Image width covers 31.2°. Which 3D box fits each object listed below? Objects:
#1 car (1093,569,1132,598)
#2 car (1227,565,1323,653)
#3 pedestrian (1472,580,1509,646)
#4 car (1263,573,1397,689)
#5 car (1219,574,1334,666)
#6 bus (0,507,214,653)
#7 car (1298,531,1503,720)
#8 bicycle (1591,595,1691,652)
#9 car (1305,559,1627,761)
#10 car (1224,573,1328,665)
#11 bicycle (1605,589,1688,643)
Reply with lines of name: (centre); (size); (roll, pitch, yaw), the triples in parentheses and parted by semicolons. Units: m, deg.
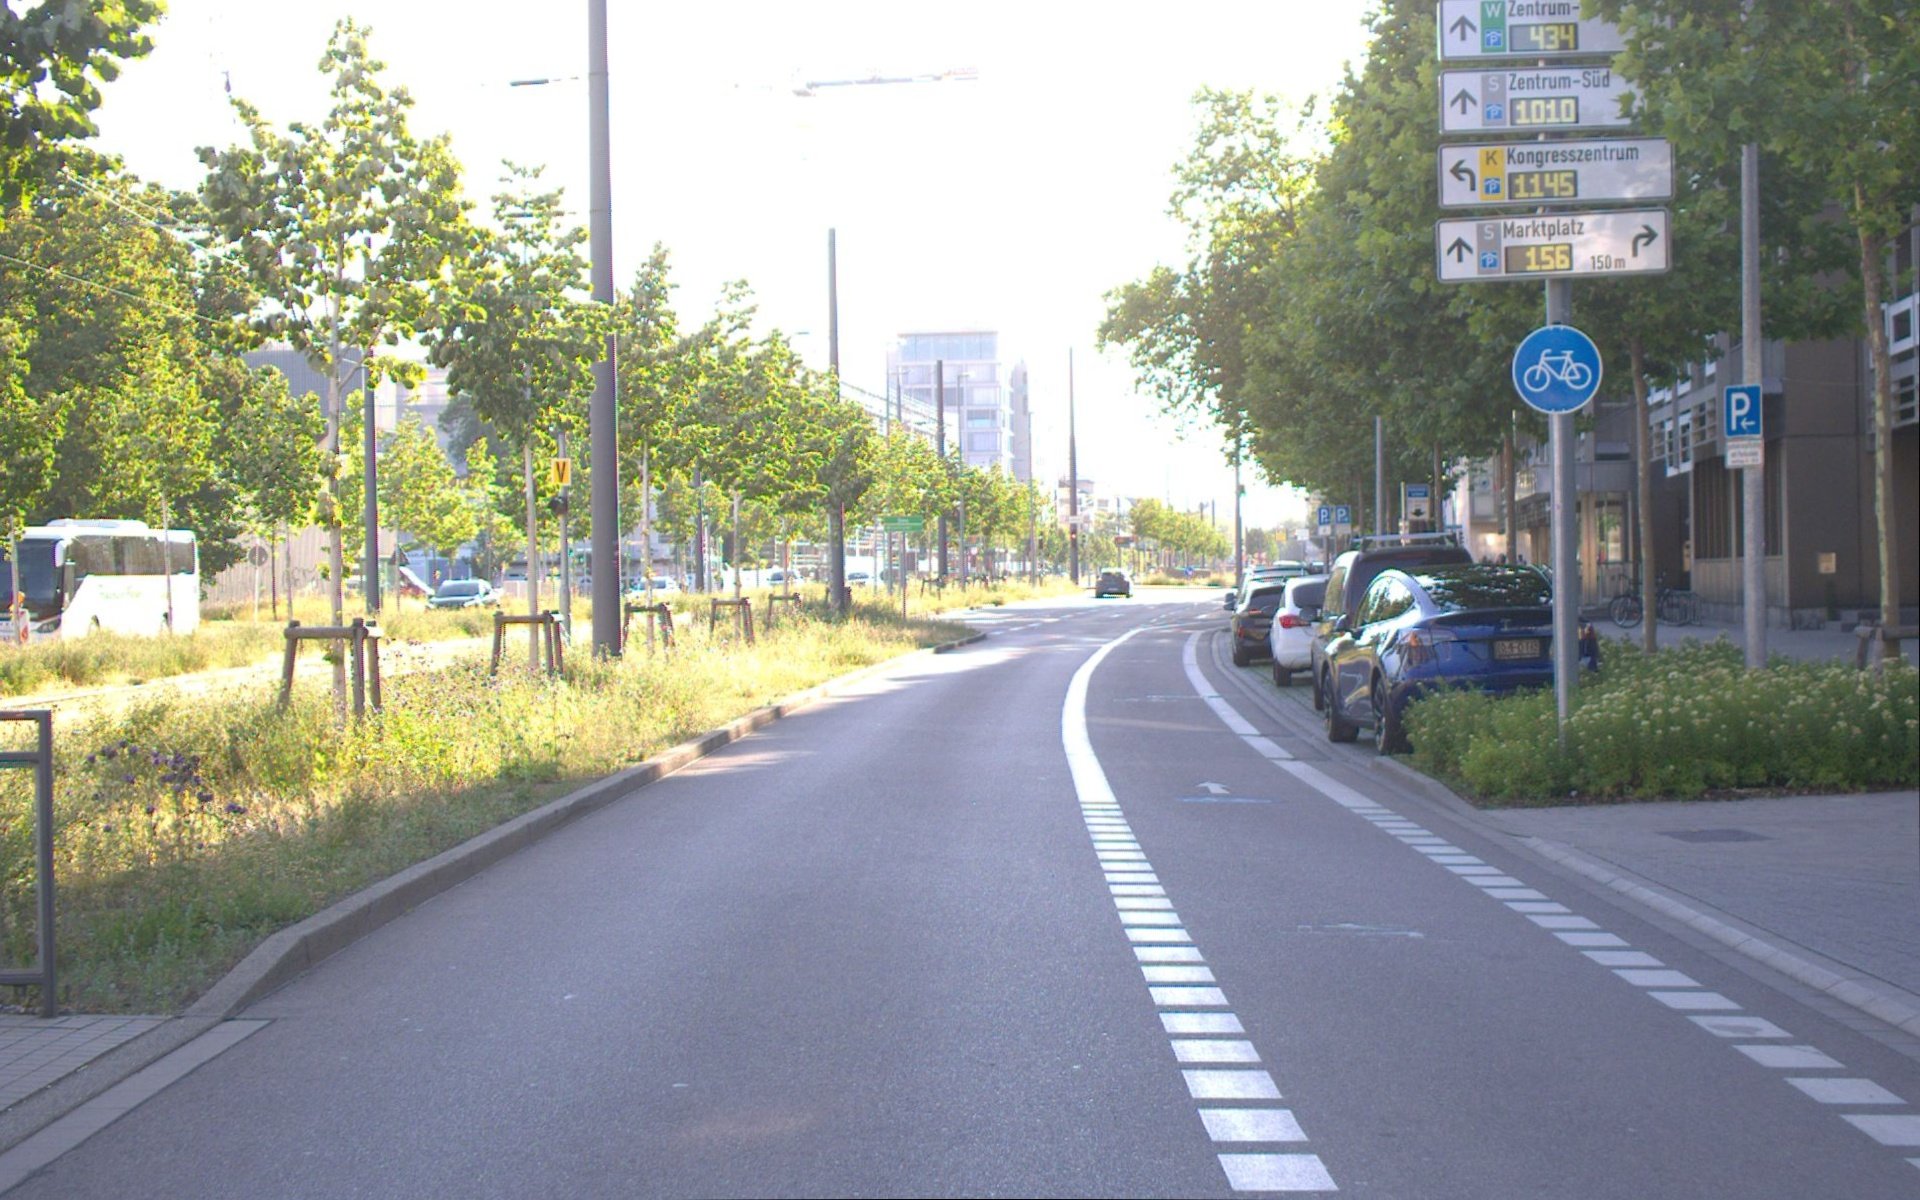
car: (7.669, -0.843, 172.529); (1.777, 1.423, 3.999); (1, 0, 4)
car: (6.428, 0.174, 70.503); (1.728, 1.682, 4.514); (-2, 0, 3)
pedestrian: (13.442, 0.326, 87.139); (0.789, 1.643, 1.136); (-1, 0, 5)
car: (5.109, 0.398, 47.879); (1.664, 1.485, 4.203); (-2, 0, 4)
car: (5.389, 0.318, 58.935); (1.795, 1.444, 4.376); (-2, 0, 4)
bus: (-22.866, -0.502, 90.610); (2.799, 3.583, 12.696); (0, 0, 4)
car: (4.824, 0.261, 38.147); (1.734, 1.913, 4.393); (-2, 0, 1)
bicycle: (13.636, 0.475, 68.845); (1.899, 1.089, 0.392); (-2, 0, -1)
car: (4.402, 0.490, 30.642); (1.931, 1.593, 4.699); (-2, 0, -2)
car: (5.903, 0.333, 64.586); (1.728, 1.616, 4.216); (-2, 0, 3)
bicycle: (14.201, 0.339, 71.152); (1.627, 1.078, 0.392); (-1, 0, 6)
